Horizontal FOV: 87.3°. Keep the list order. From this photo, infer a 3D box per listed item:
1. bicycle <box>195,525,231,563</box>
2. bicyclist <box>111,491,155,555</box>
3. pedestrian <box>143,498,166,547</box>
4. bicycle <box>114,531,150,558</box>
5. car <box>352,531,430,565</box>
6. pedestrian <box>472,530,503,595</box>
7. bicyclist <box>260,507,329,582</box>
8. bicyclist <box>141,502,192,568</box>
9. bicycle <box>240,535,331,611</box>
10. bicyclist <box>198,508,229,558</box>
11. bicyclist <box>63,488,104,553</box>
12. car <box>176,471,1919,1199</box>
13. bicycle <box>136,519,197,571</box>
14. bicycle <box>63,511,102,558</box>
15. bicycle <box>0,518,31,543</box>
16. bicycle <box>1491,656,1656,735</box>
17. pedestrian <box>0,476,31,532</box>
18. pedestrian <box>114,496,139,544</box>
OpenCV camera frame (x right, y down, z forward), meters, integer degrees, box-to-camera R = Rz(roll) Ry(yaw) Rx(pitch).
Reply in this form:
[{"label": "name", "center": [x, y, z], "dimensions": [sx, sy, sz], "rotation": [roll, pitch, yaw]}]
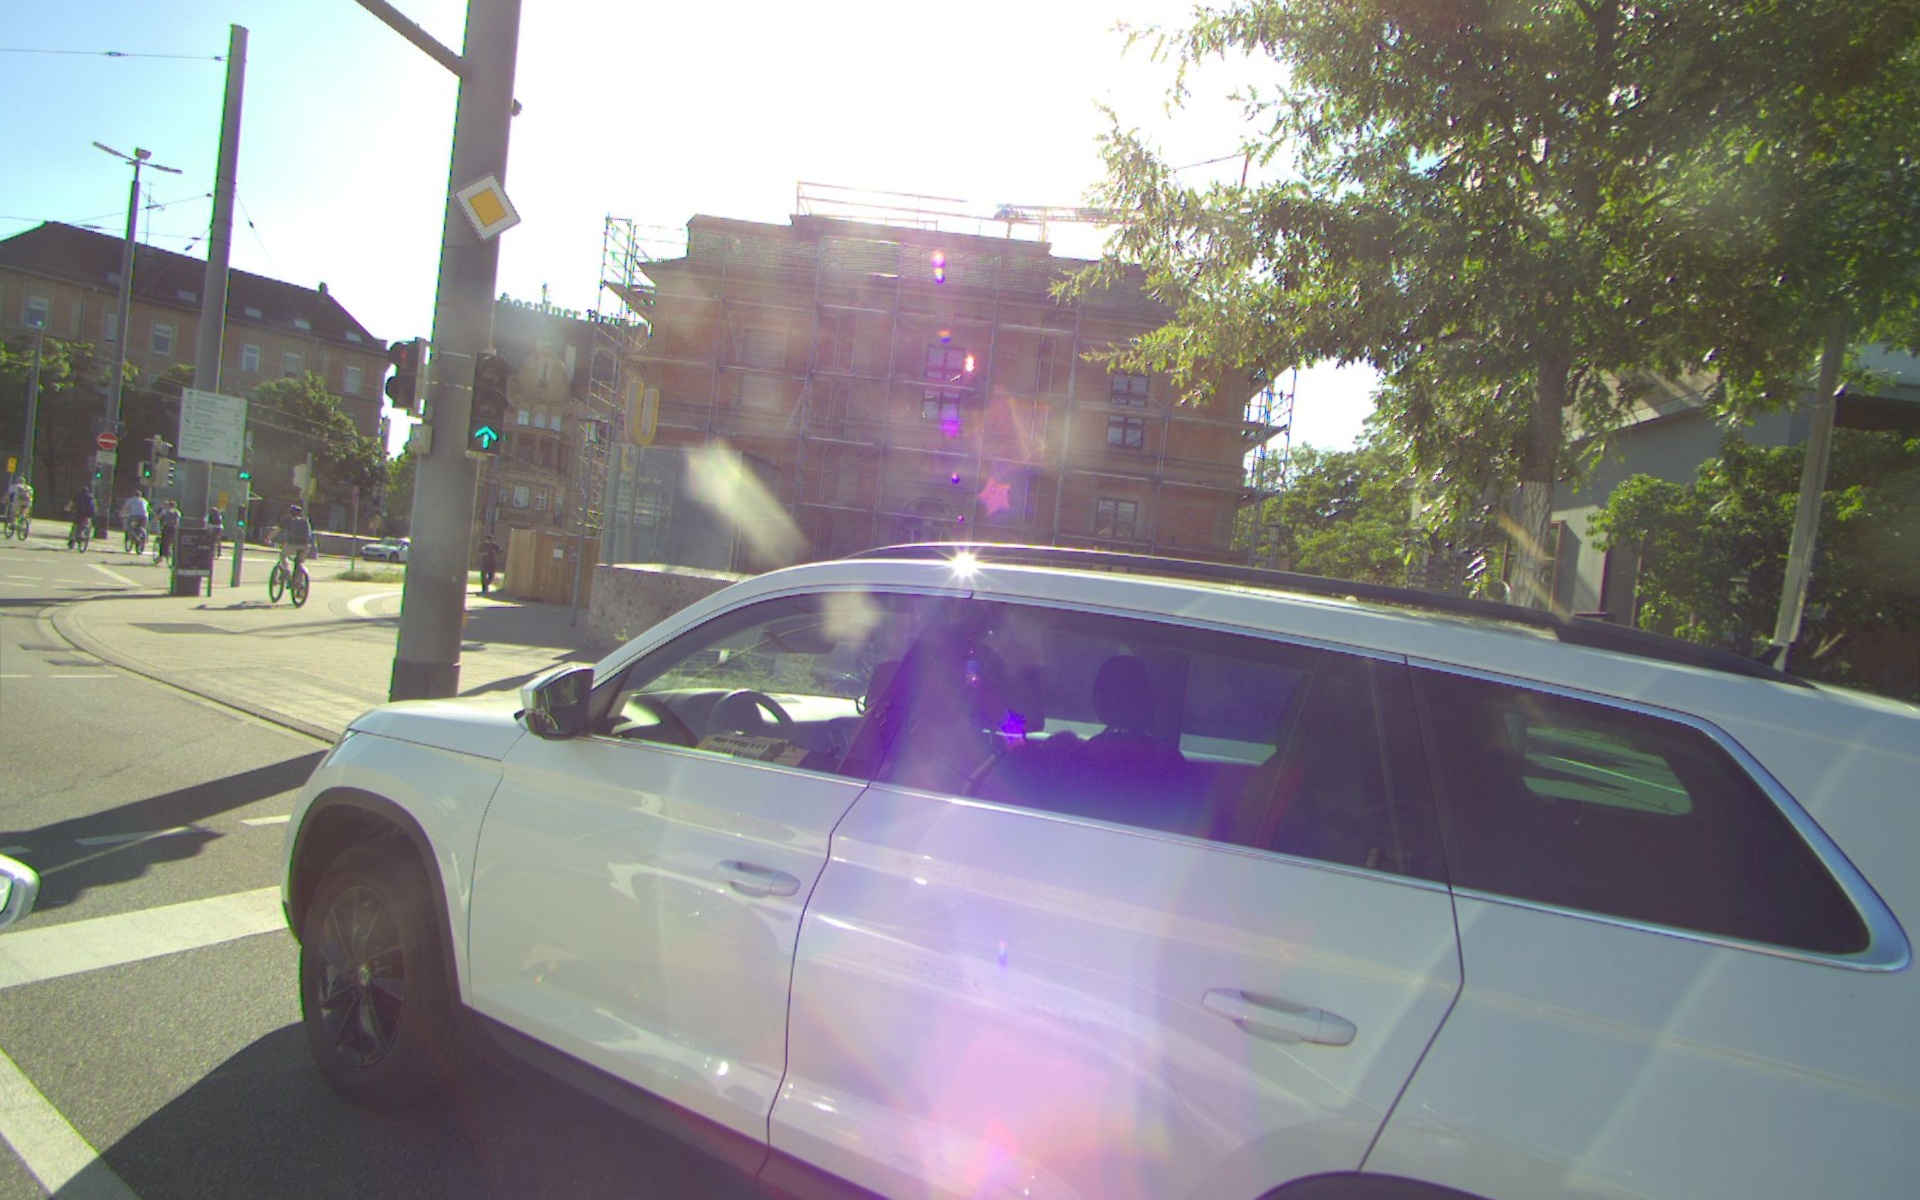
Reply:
[{"label": "bicycle", "center": [-25.107, -1.897, 33.786], "dimensions": [1.716, 1.139, 0.570], "rotation": [7, 1, 42]}, {"label": "bicyclist", "center": [-24.767, -2.303, 30.129], "dimensions": [0.910, 1.802, 0.746], "rotation": [7, 2, 39]}, {"label": "pedestrian", "center": [-35.325, -3.388, 44.127], "dimensions": [0.443, 2.039, 0.462], "rotation": [7, 1, 14]}, {"label": "bicycle", "center": [-24.784, -1.670, 30.104], "dimensions": [1.446, 0.664, 0.536], "rotation": [7, 1, 39]}, {"label": "car", "center": [-34.611, -3.119, 61.340], "dimensions": [1.766, 1.582, 4.327], "rotation": [6, 0, 7]}, {"label": "pedestrian", "center": [-14.565, -1.159, 31.018], "dimensions": [0.692, 1.904, 0.715], "rotation": [6, 1, -27]}, {"label": "bicyclist", "center": [-12.505, -1.046, 18.912], "dimensions": [0.892, 1.296, 0.720], "rotation": [7, 3, 31]}, {"label": "bicyclist", "center": [-21.120, -1.725, 26.768], "dimensions": [0.961, 1.618, 0.685], "rotation": [7, 1, 34]}, {"label": "bicycle", "center": [-12.645, -0.512, 18.847], "dimensions": [1.804, 1.234, 0.690], "rotation": [7, 3, 32]}, {"label": "bicyclist", "center": [-25.038, -2.244, 33.745], "dimensions": [0.934, 1.588, 0.570], "rotation": [7, 1, 42]}, {"label": "bicyclist", "center": [-23.870, -2.166, 27.394], "dimensions": [0.624, 1.656, 0.983], "rotation": [10, -1, -43]}, {"label": "car", "center": [-0.064, 0.695, 2.709], "dimensions": [4.225, 1.662, 1.697], "rotation": [6, 0, 30]}, {"label": "bicycle", "center": [-21.104, -1.464, 26.743], "dimensions": [1.853, 1.178, 0.685], "rotation": [7, 1, 34]}, {"label": "bicycle", "center": [-23.922, -1.794, 27.416], "dimensions": [0.624, 1.126, 1.828], "rotation": [10, -2, -43]}, {"label": "bicycle", "center": [-28.479, -2.098, 30.316], "dimensions": [0.534, 0.664, 1.706], "rotation": [6, 1, -39]}, {"label": "bicycle", "center": [14.101, 2.188, 23.208], "dimensions": [3.079, 1.394, 0.798], "rotation": [7, 0, 8]}, {"label": "pedestrian", "center": [-28.479, -2.871, 30.312], "dimensions": [0.545, 1.582, 0.849], "rotation": [6, 1, -38]}, {"label": "pedestrian", "center": [-36.518, -3.499, 44.074], "dimensions": [0.443, 2.039, 0.574], "rotation": [7, 1, 14]}]
